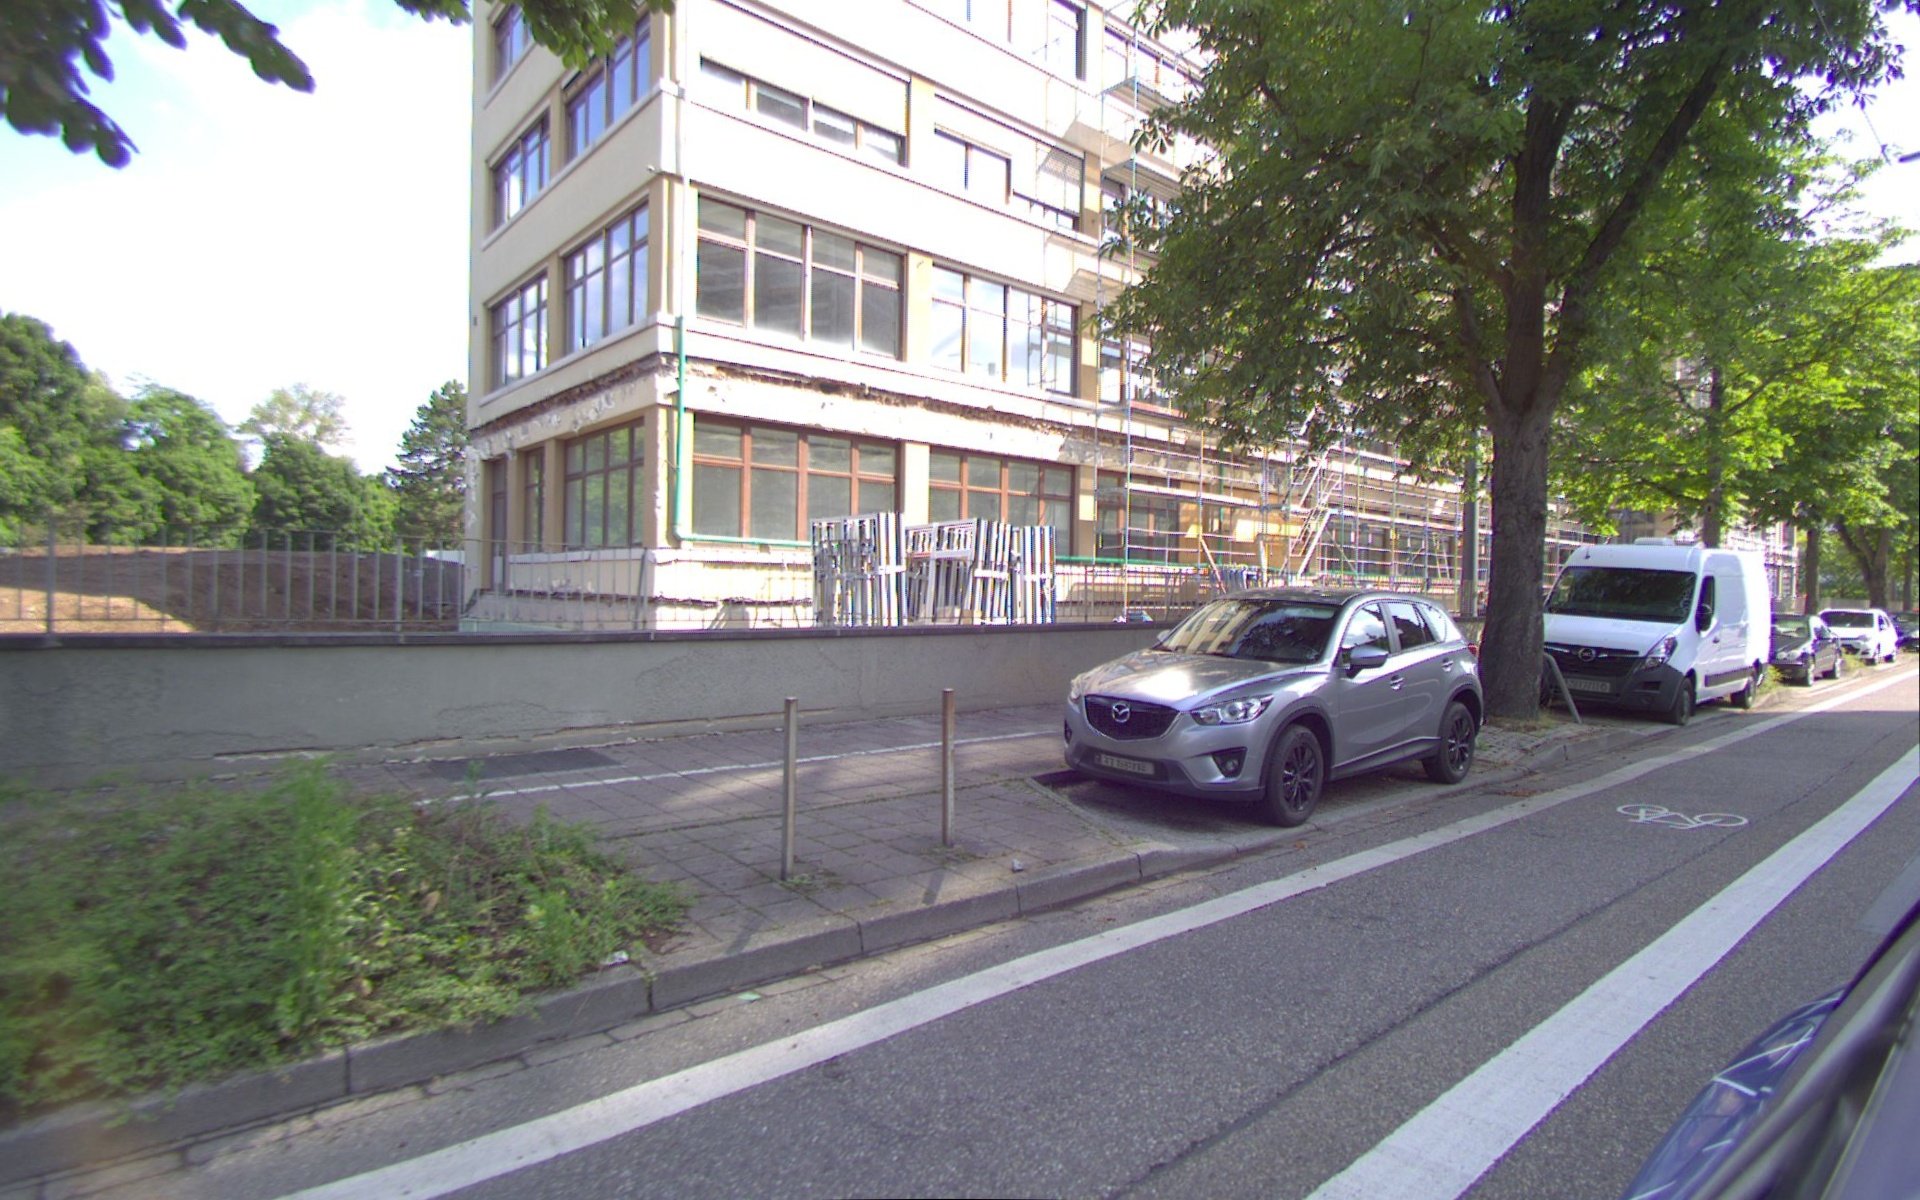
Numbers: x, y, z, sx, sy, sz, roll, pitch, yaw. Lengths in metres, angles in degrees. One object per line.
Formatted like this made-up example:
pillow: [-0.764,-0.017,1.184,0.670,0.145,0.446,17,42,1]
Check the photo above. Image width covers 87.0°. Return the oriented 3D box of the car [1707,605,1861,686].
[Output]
car: [17.483,0.881,21.390,4.429,1.388,1.738,0,4,-41]

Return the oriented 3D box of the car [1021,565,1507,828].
car: [2.700,0.604,8.383,4.380,1.627,1.768,1,1,-41]

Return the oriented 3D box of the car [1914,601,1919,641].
car: [40.228,0.851,41.298,3.584,1.594,1.531,0,0,-41]

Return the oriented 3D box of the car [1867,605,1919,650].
car: [32.146,0.894,34.250,3.567,1.416,1.735,0,0,-41]

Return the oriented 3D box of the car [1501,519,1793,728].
car: [10.556,0.209,15.323,5.816,2.598,2.128,0,4,-41]

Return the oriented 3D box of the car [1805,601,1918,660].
car: [24.605,0.776,27.583,3.823,1.475,1.569,0,0,-37]
